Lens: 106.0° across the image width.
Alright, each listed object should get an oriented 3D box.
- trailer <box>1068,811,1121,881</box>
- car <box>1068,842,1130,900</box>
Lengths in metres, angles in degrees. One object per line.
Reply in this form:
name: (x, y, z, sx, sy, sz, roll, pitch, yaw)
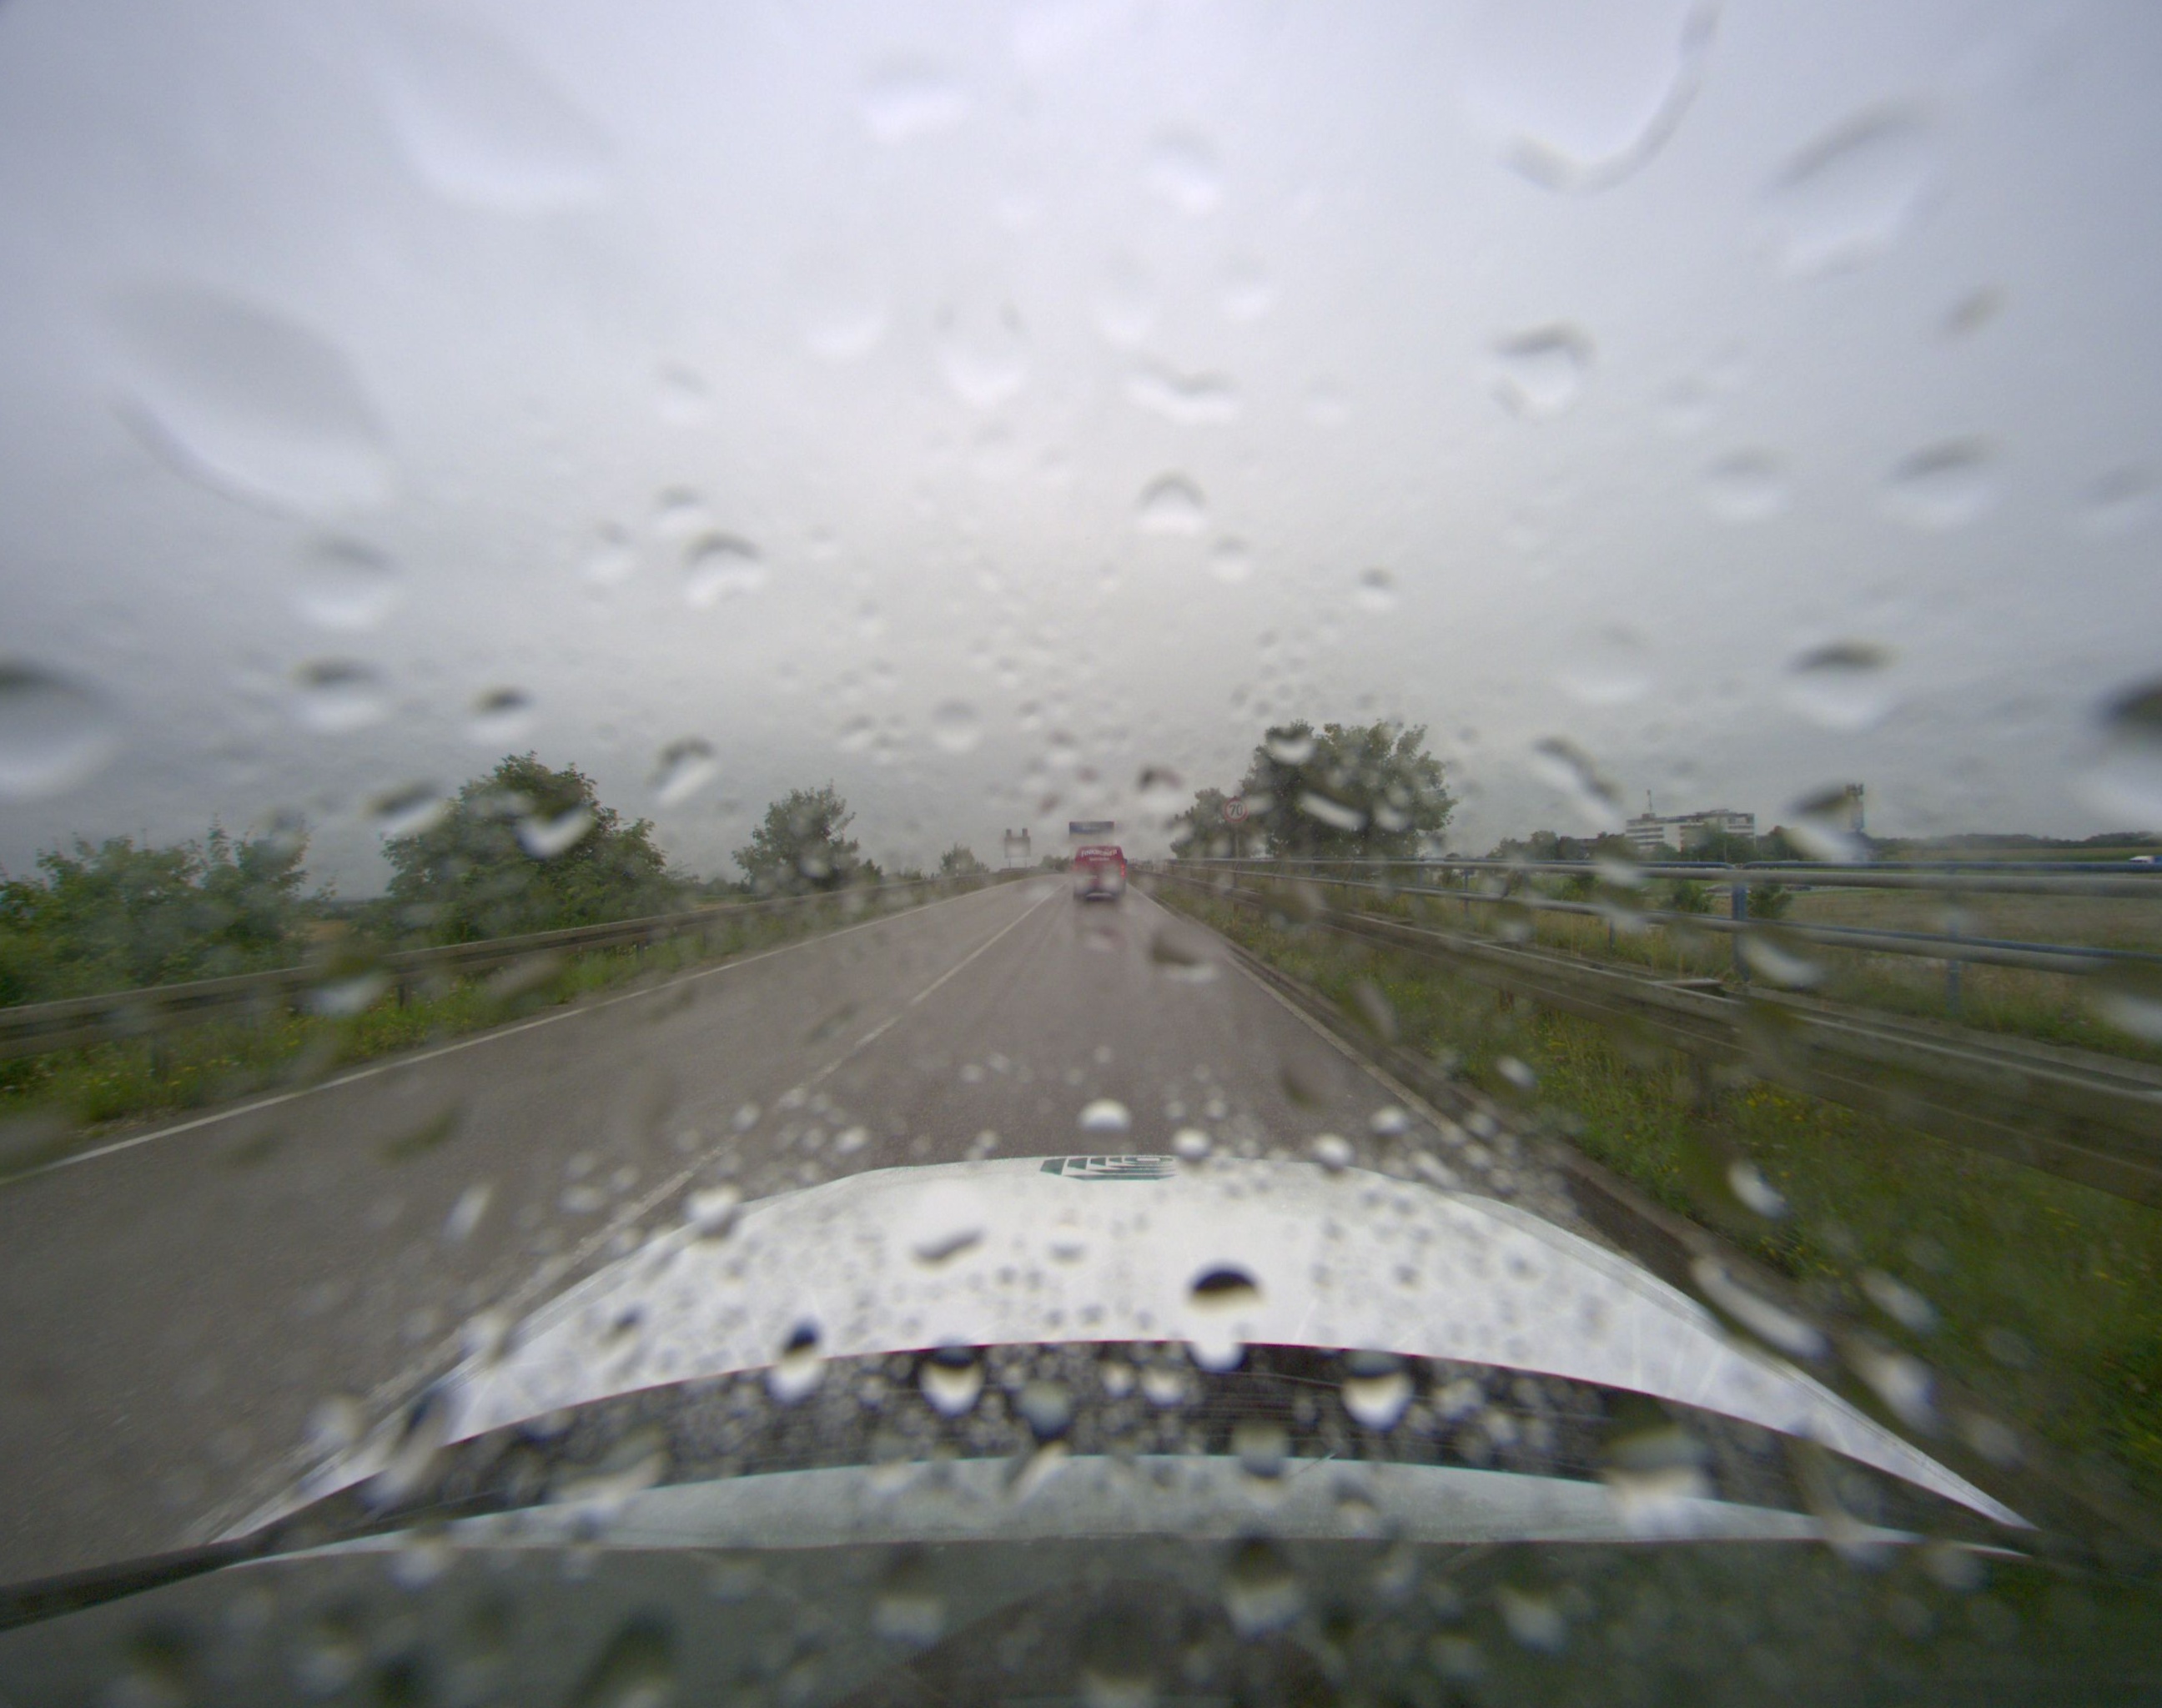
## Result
trailer: (0.998, -0.364, 50.529, 2.820, 3.819, 9.720, -2, -1, 3)
car: (0.715, 0.599, 29.946, 1.986, 1.870, 4.981, -3, -1, 2)
